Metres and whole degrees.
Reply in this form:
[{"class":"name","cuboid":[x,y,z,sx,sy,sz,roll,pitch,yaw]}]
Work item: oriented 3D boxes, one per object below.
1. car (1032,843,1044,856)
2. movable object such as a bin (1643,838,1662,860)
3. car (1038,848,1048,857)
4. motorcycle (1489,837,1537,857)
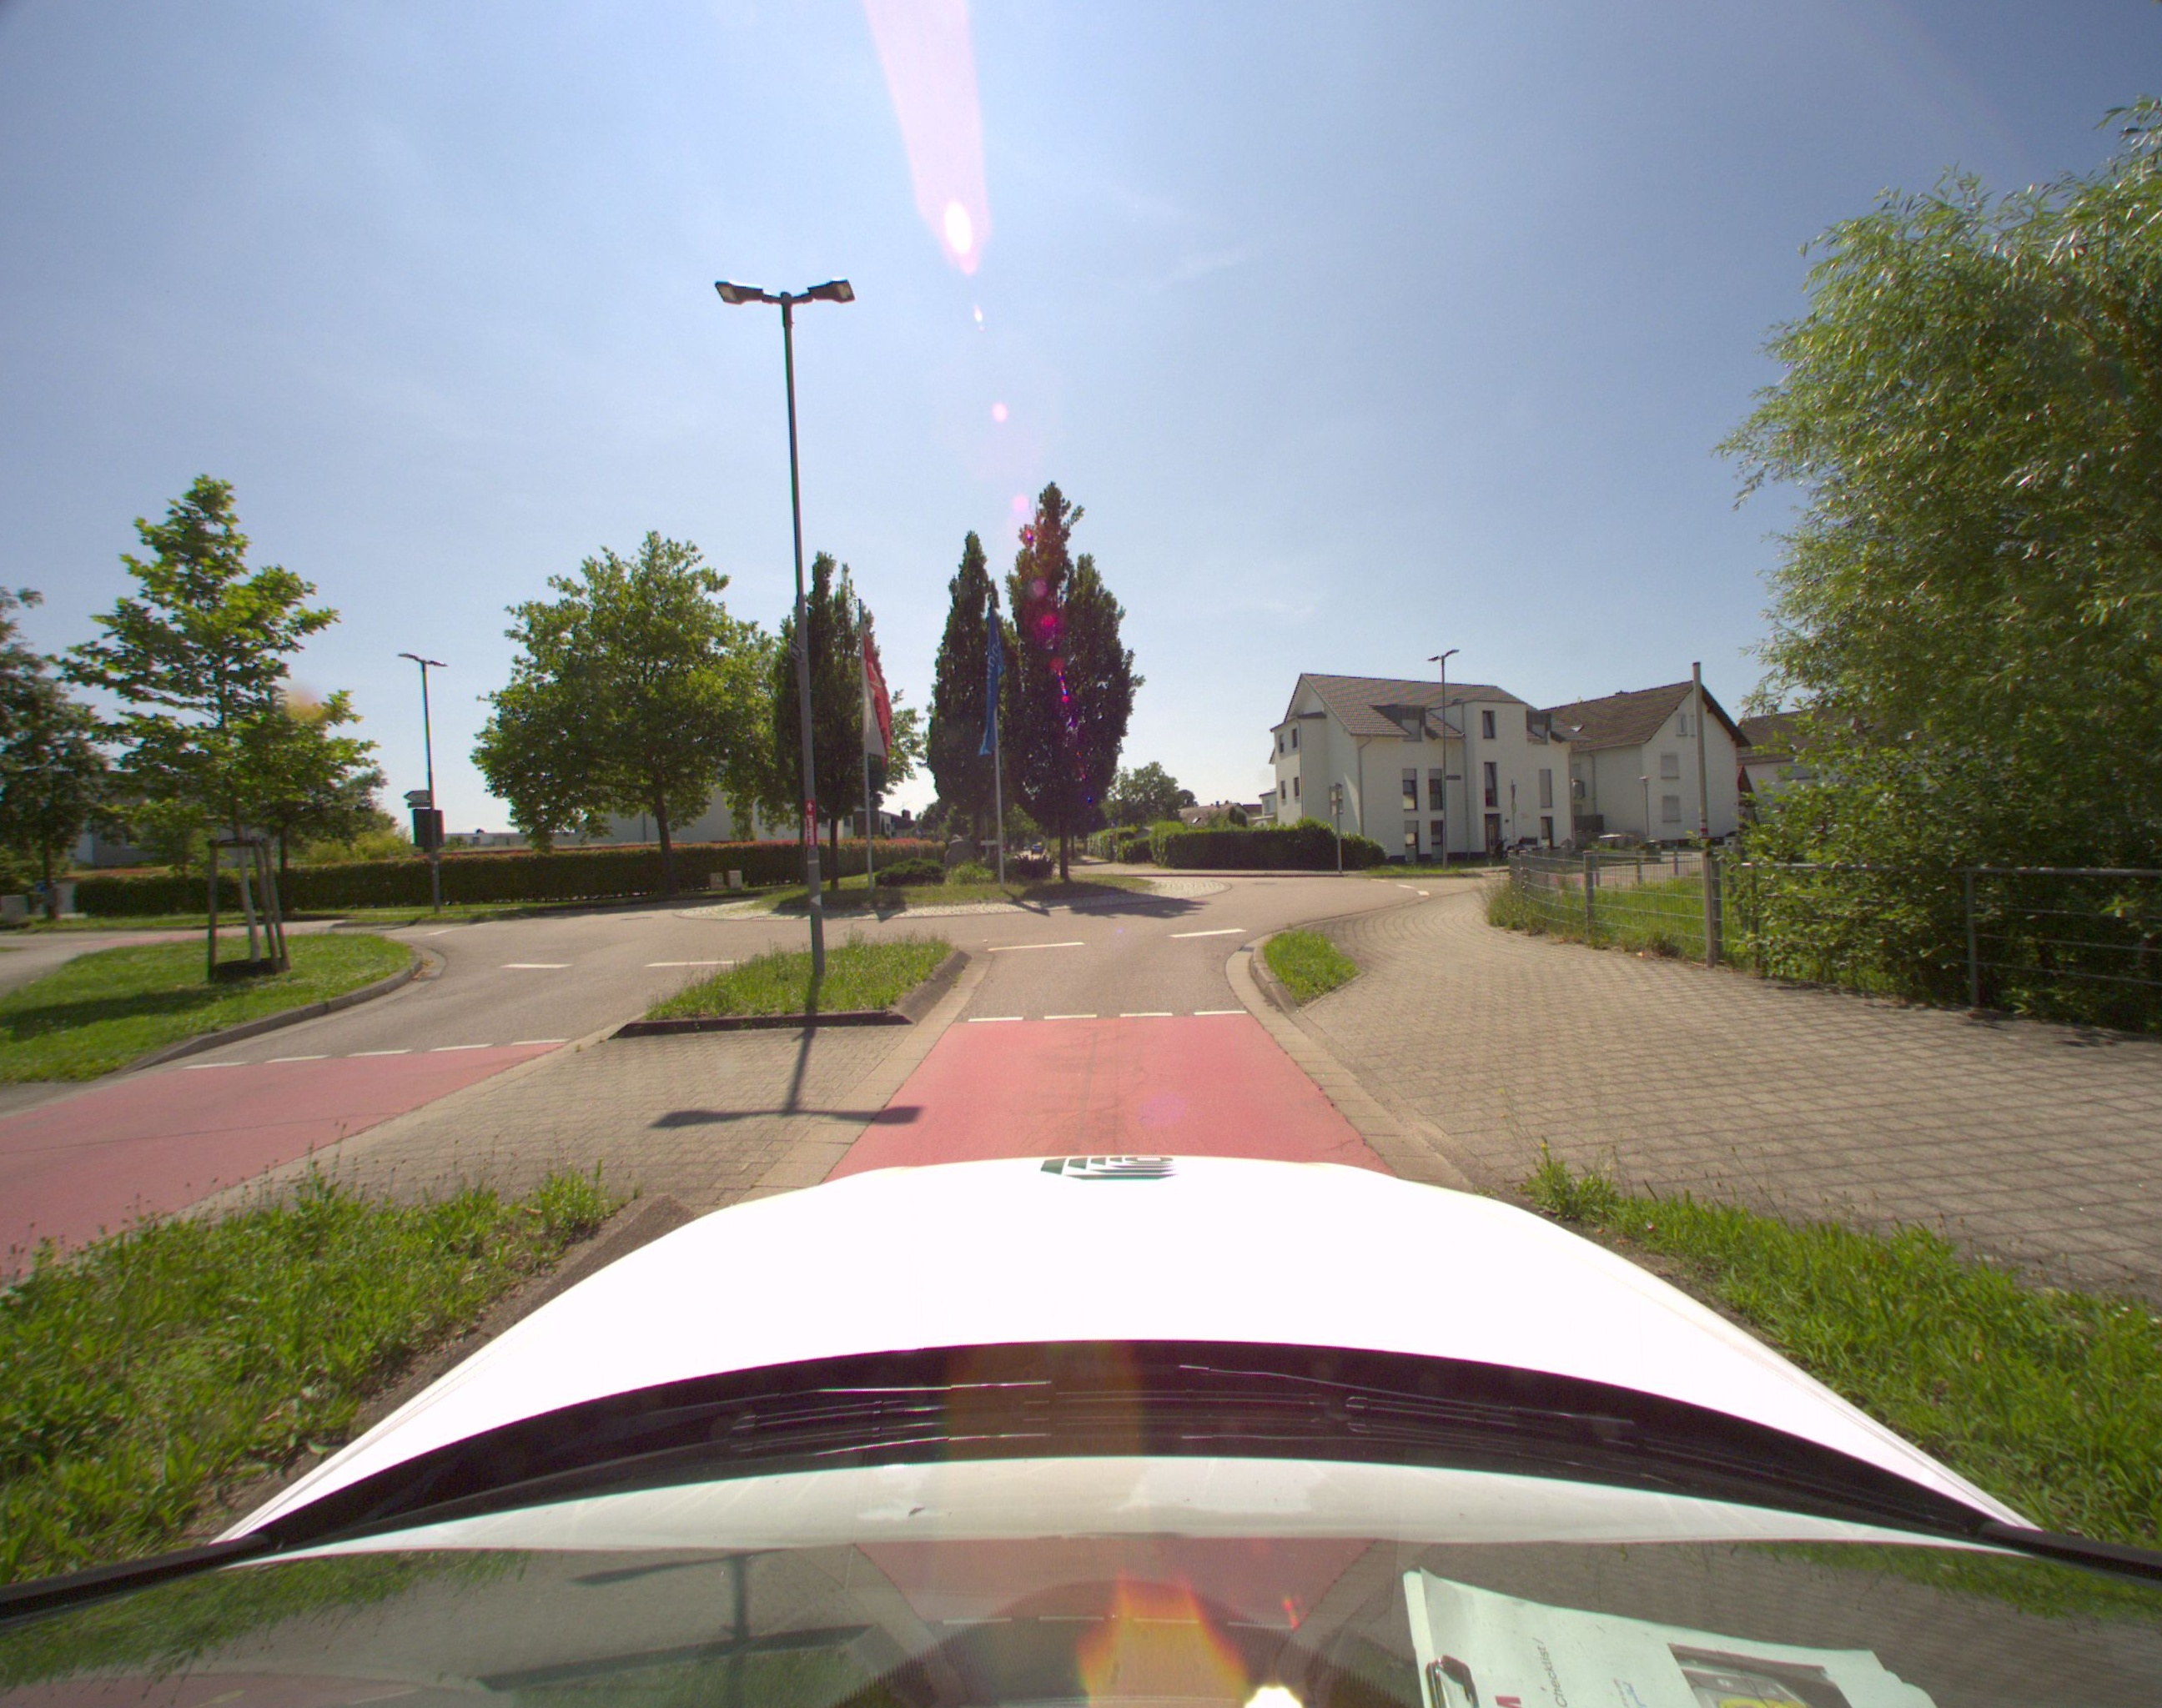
[{"class":"car","cuboid":[-6.766,-0.709,127.744,1.919,1.886,3.995,-1,0,-3]},{"class":"movable object such as a bin","cuboid":[28.977,-0.268,41.315,0.458,1.083,0.644,-2,1,-16]},{"class":"car","cuboid":[-7.515,-0.252,161.854,1.988,1.770,3.997,-1,0,-2]},{"class":"motorcycle","cuboid":[22.392,-0.346,42.267,0.672,1.013,2.353,0,0,-20]}]
